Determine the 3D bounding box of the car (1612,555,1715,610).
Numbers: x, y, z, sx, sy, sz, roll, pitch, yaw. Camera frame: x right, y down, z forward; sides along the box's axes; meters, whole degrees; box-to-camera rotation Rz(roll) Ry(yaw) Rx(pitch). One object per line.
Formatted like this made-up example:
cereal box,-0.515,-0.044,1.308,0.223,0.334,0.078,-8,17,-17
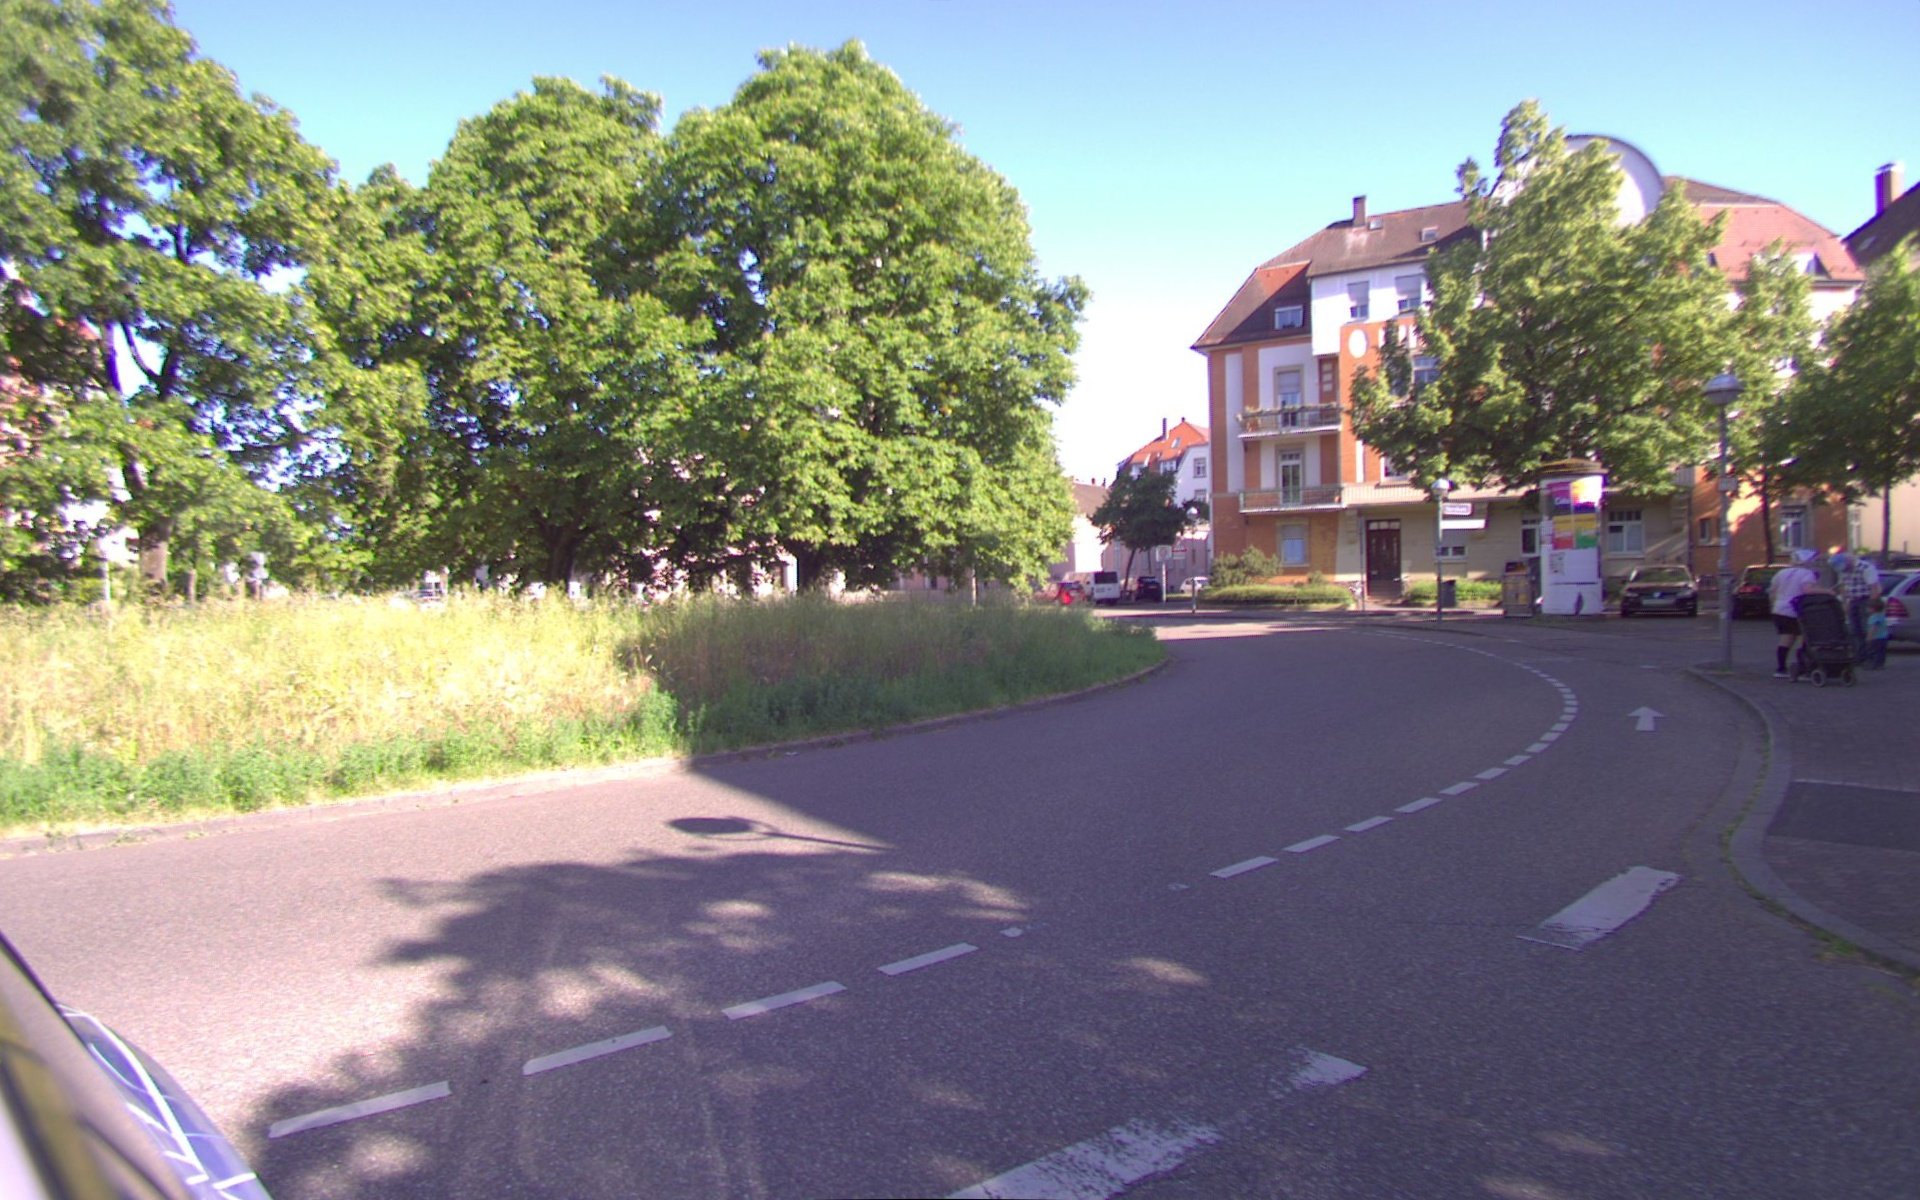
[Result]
car,19.821,-0.492,28.454,1.999,1.409,3.946,-1,1,40

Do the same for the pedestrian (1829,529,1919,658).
pedestrian,12.087,-0.093,13.334,0.745,1.627,0.749,-2,1,-32

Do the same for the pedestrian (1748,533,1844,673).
pedestrian,10.101,0.027,12.231,0.685,1.627,0.667,-2,1,-29

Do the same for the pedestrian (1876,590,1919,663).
pedestrian,11.861,0.324,12.657,0.424,0.882,0.457,-2,1,-24

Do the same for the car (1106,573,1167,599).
car,10.721,-0.832,61.653,1.714,1.491,4.013,-2,1,-23

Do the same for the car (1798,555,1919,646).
car,17.091,-0.054,17.317,3.941,1.454,1.898,-2,1,-2

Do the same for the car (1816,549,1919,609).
car,23.874,-0.536,25.151,1.686,1.435,4.254,-2,1,3

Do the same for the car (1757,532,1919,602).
car,26.101,-0.944,29.703,1.969,1.895,4.006,-2,1,-6

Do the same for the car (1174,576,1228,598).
car,17.450,-0.927,73.431,1.714,1.491,4.013,-2,1,-23

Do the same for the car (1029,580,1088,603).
car,5.270,-0.452,54.785,1.739,1.187,4.012,-2,1,-17

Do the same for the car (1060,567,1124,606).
car,7.326,-0.744,56.598,1.966,2.029,4.012,-2,1,-17

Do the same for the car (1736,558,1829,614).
car,21.051,-0.380,25.895,1.707,1.294,4.201,-1,1,40

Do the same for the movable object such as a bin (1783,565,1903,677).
movable object such as a bin,9.947,0.223,11.435,0.764,1.205,0.838,-1,1,22
